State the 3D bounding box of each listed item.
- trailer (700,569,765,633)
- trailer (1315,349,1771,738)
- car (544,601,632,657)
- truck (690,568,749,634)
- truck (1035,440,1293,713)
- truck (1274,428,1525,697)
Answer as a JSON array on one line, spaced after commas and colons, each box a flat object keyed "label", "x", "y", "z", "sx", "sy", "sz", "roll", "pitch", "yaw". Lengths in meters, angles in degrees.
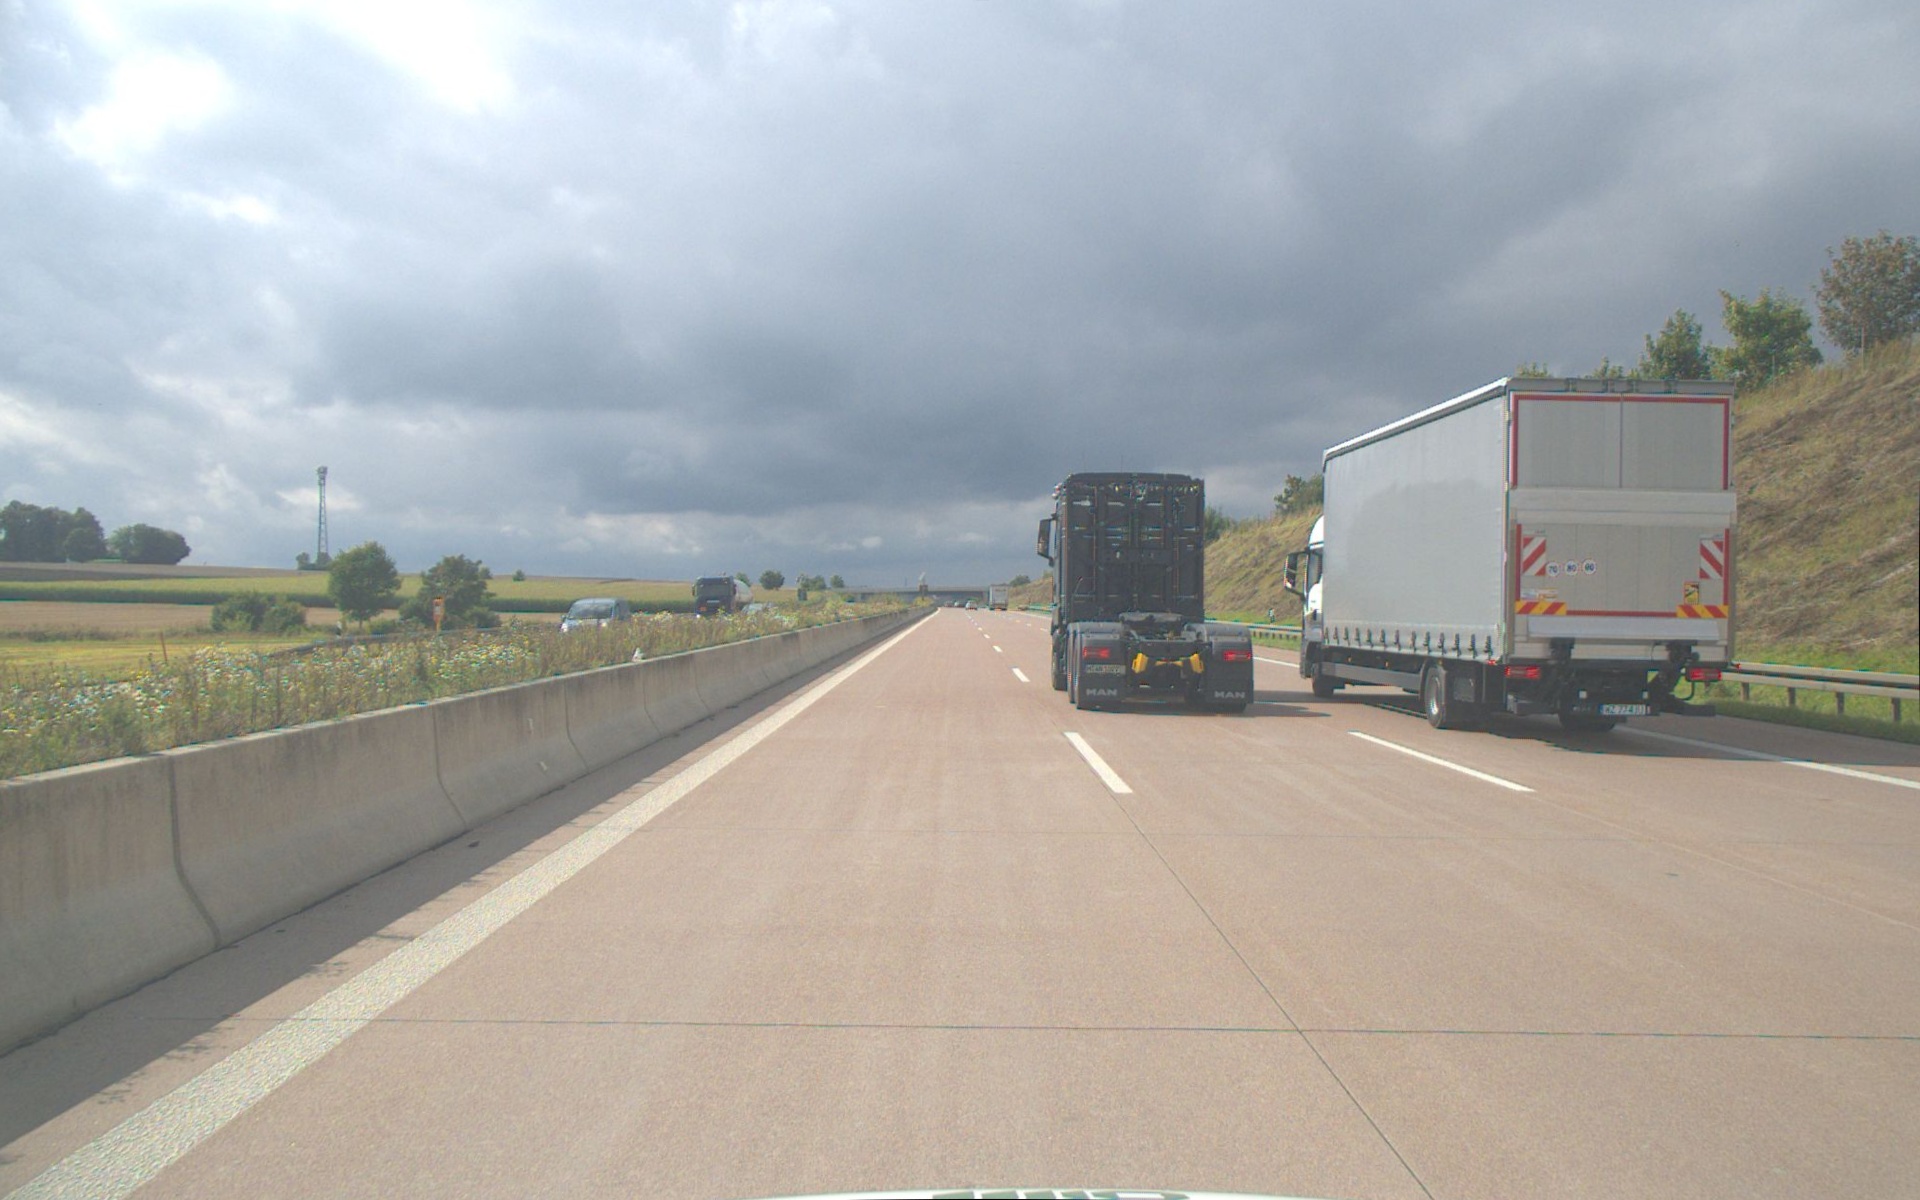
[{"label": "trailer", "x": -16.008, "y": 0.040, "z": 116.943, "sx": 2.832, "sy": 4.170, "sz": 11.037, "roll": -2, "pitch": 0, "yaw": 0}, {"label": "trailer", "x": 7.124, "y": -0.580, "z": 21.873, "sx": 2.692, "sy": 4.082, "sz": 8.667, "roll": 1, "pitch": 0, "yaw": -2}, {"label": "car", "x": -12.233, "y": 0.921, "z": 54.703, "sx": 1.953, "sy": 1.729, "sz": 4.255, "roll": -2, "pitch": 0, "yaw": -1}, {"label": "truck", "x": -16.065, "y": 0.051, "z": 110.790, "sx": 2.832, "sy": 4.170, "sz": 6.335, "roll": -2, "pitch": 0, "yaw": 1}, {"label": "truck", "x": 2.924, "y": -0.294, "z": 26.264, "sx": 2.790, "sy": 3.612, "sz": 8.316, "roll": 1, "pitch": 0, "yaw": -2}, {"label": "truck", "x": 6.965, "y": -0.563, "z": 26.856, "sx": 2.693, "sy": 3.960, "sz": 4.544, "roll": 1, "pitch": 0, "yaw": -2}]
